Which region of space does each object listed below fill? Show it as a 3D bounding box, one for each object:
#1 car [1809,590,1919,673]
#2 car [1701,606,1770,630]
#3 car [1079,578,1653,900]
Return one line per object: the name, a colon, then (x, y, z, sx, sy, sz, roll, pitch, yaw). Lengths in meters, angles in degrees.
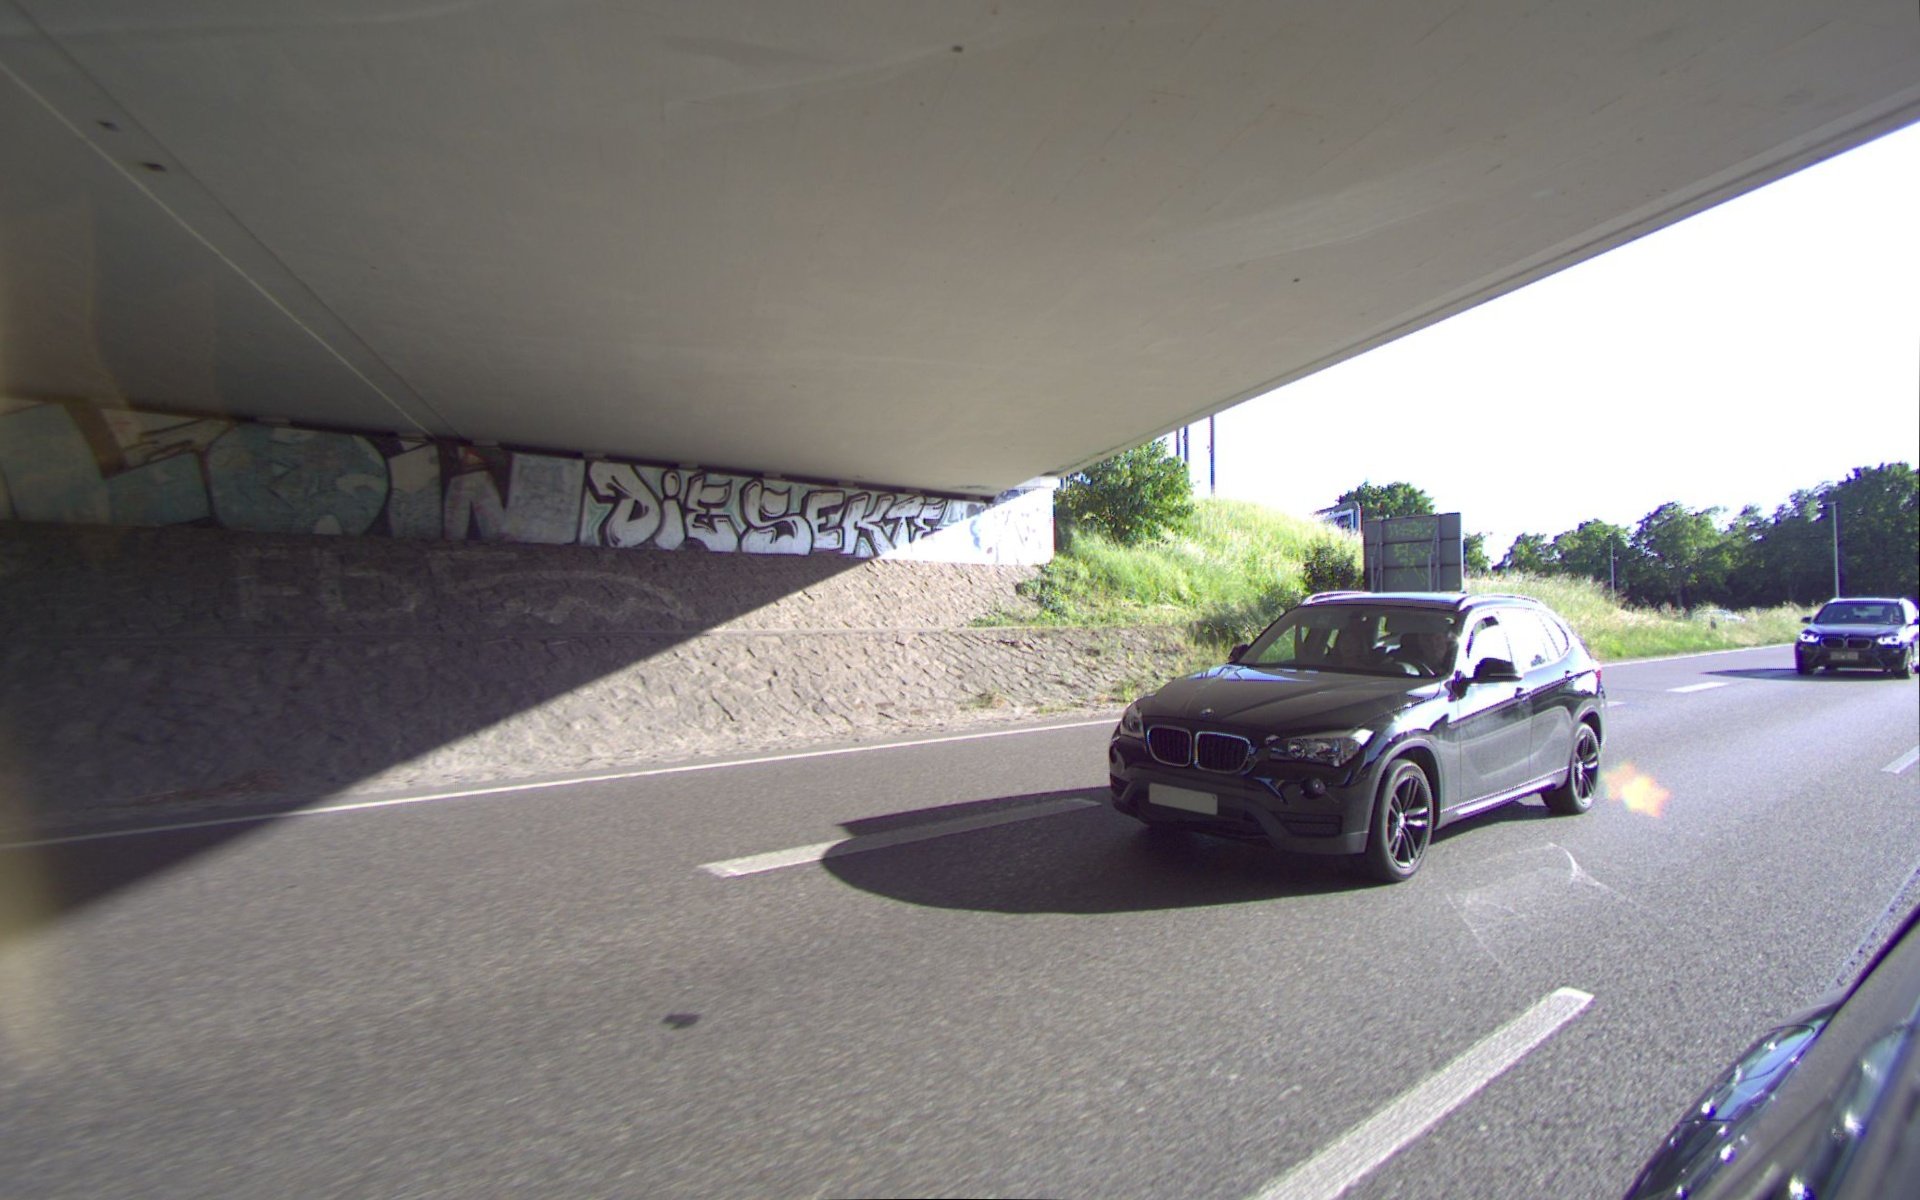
car: (19.810, 0.586, 21.719, 4.442, 1.592, 1.758, -1, 1, -41)
car: (59.041, 1.375, 77.106, 1.831, 1.712, 4.006, 0, 0, -7)
car: (2.983, 0.641, 6.882, 4.497, 1.525, 1.702, 0, 0, -40)
